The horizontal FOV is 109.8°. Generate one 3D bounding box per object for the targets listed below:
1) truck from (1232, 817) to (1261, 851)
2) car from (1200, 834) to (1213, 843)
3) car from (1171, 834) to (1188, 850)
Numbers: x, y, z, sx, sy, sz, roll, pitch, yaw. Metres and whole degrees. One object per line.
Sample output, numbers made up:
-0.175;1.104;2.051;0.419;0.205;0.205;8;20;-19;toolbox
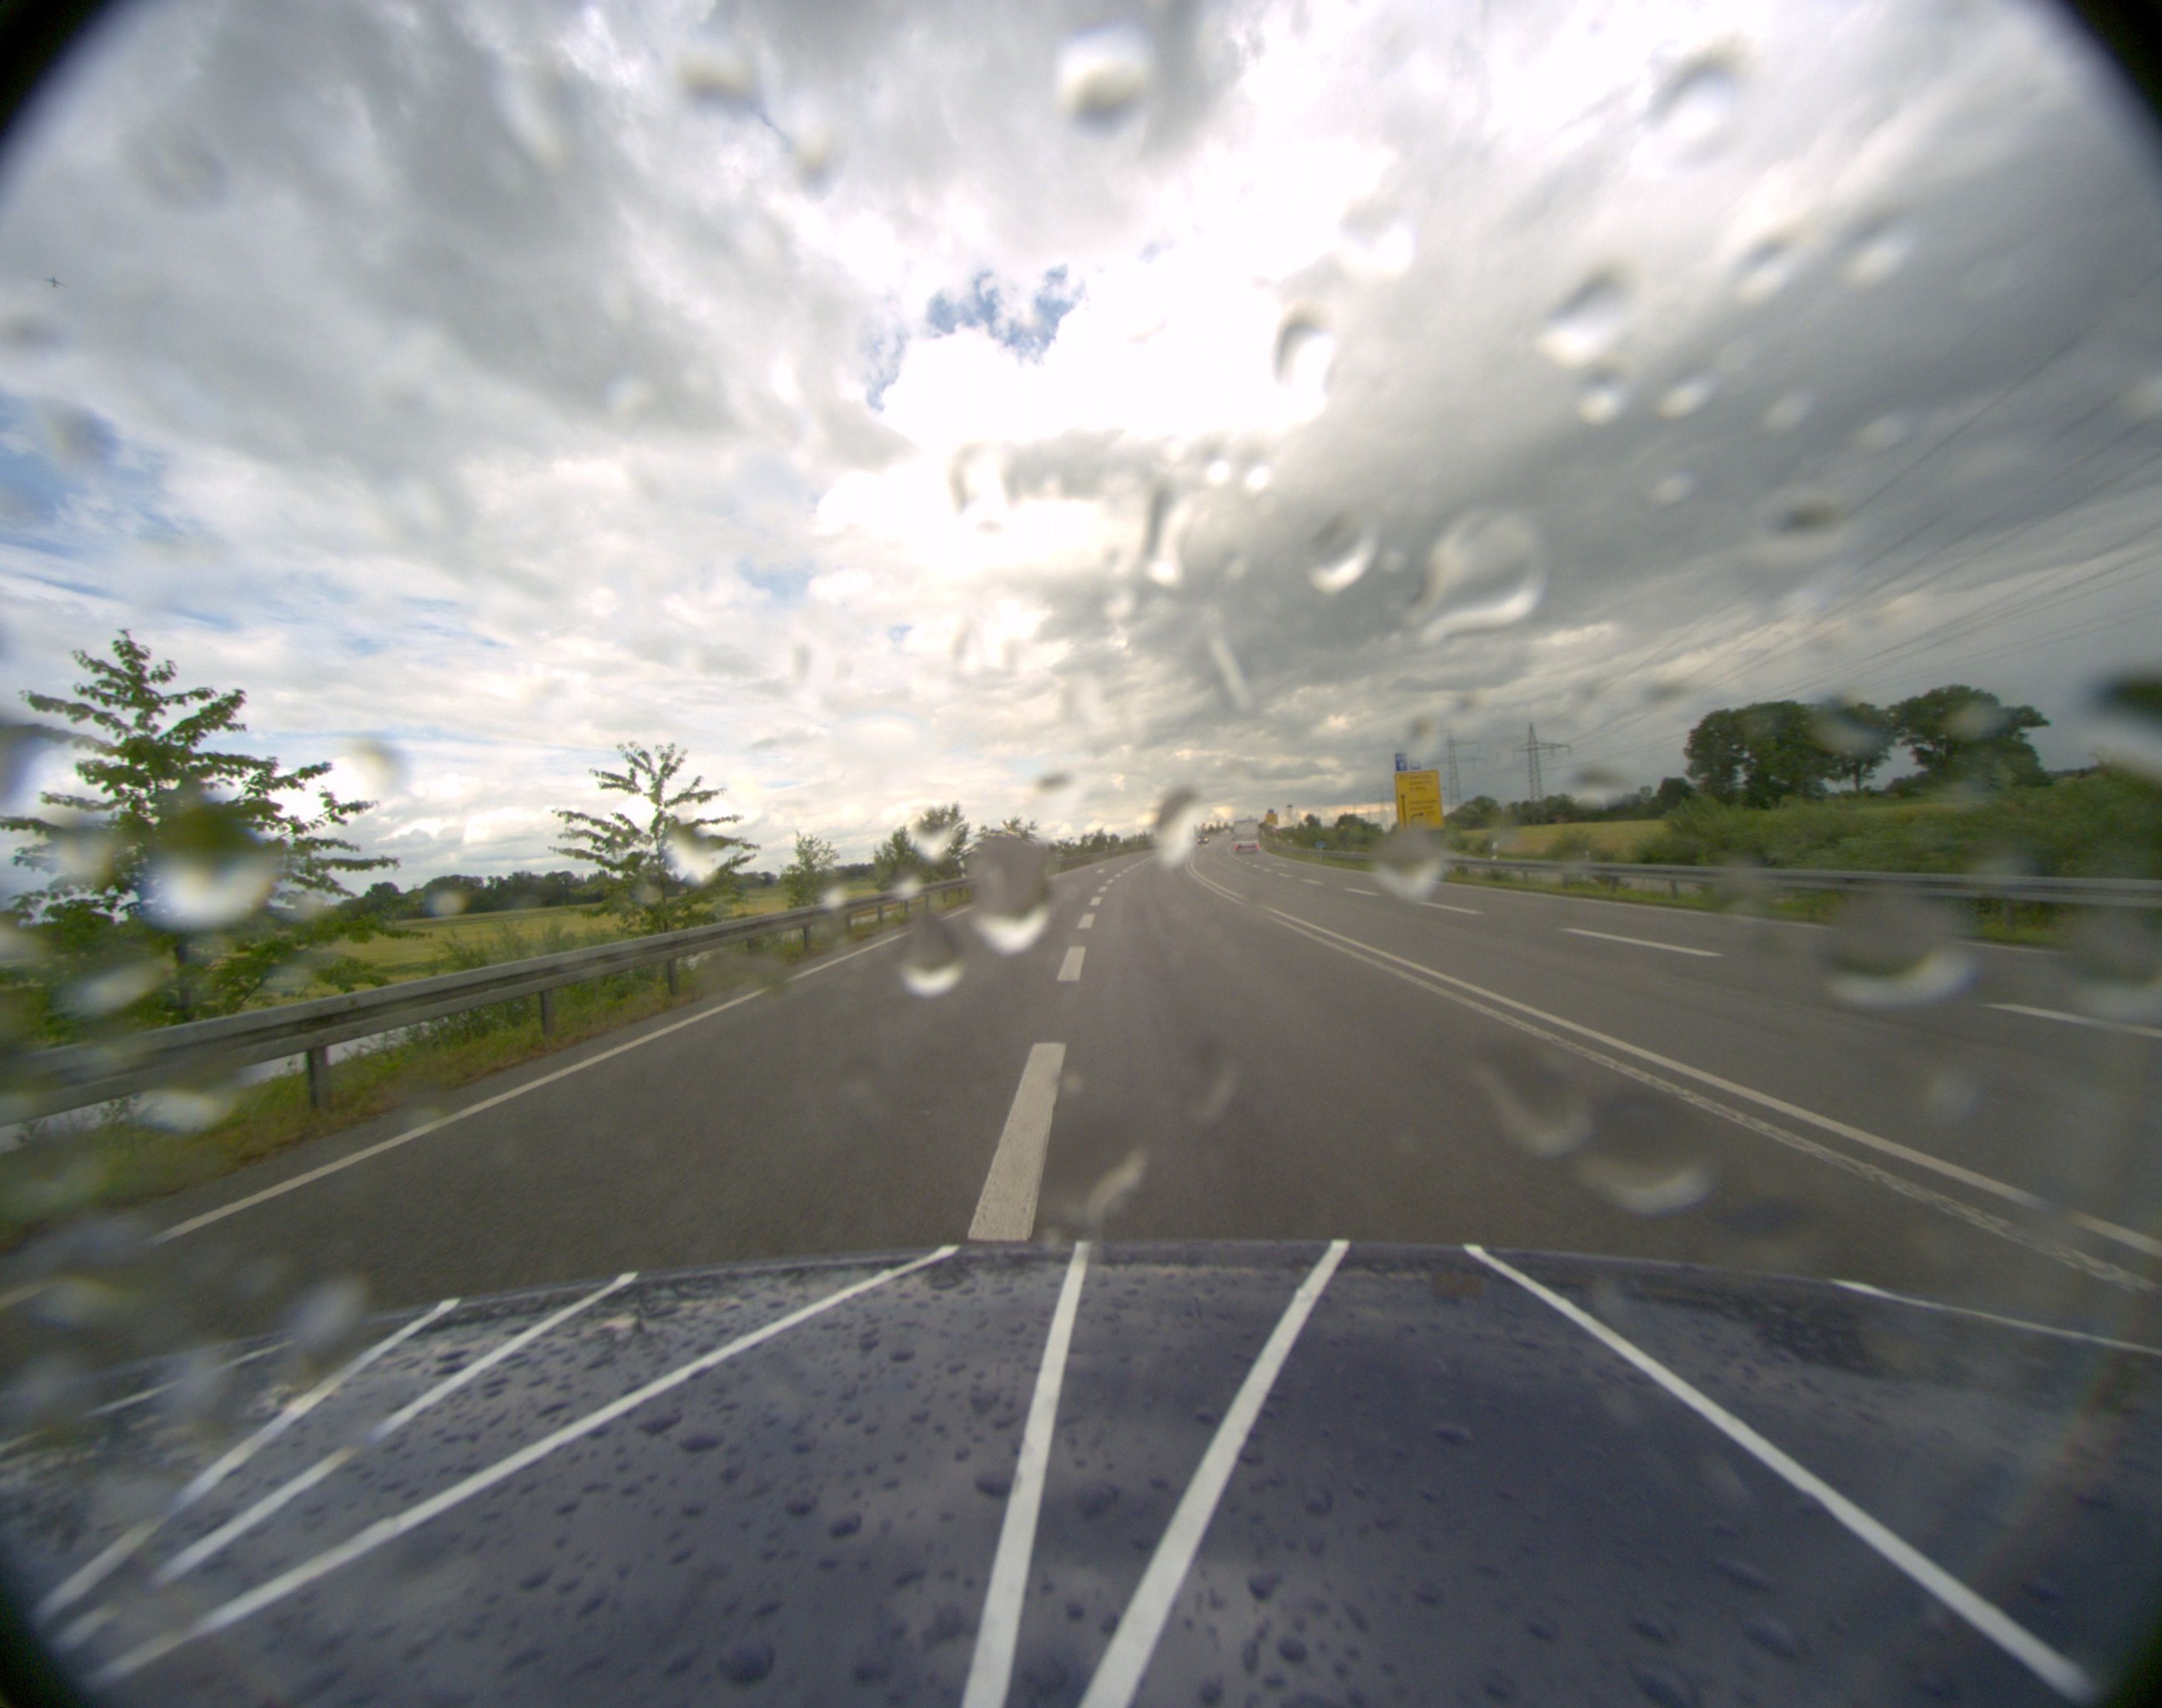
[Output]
16.729;-1.991;77.104;2.485;3.273;7.285;-1;1;10;truck
21.959;-2.704;132.964;1.747;1.488;4.054;-4;0;14;car
12.000;-1.429;92.396;1.795;1.758;4.003;-2;0;9;car
